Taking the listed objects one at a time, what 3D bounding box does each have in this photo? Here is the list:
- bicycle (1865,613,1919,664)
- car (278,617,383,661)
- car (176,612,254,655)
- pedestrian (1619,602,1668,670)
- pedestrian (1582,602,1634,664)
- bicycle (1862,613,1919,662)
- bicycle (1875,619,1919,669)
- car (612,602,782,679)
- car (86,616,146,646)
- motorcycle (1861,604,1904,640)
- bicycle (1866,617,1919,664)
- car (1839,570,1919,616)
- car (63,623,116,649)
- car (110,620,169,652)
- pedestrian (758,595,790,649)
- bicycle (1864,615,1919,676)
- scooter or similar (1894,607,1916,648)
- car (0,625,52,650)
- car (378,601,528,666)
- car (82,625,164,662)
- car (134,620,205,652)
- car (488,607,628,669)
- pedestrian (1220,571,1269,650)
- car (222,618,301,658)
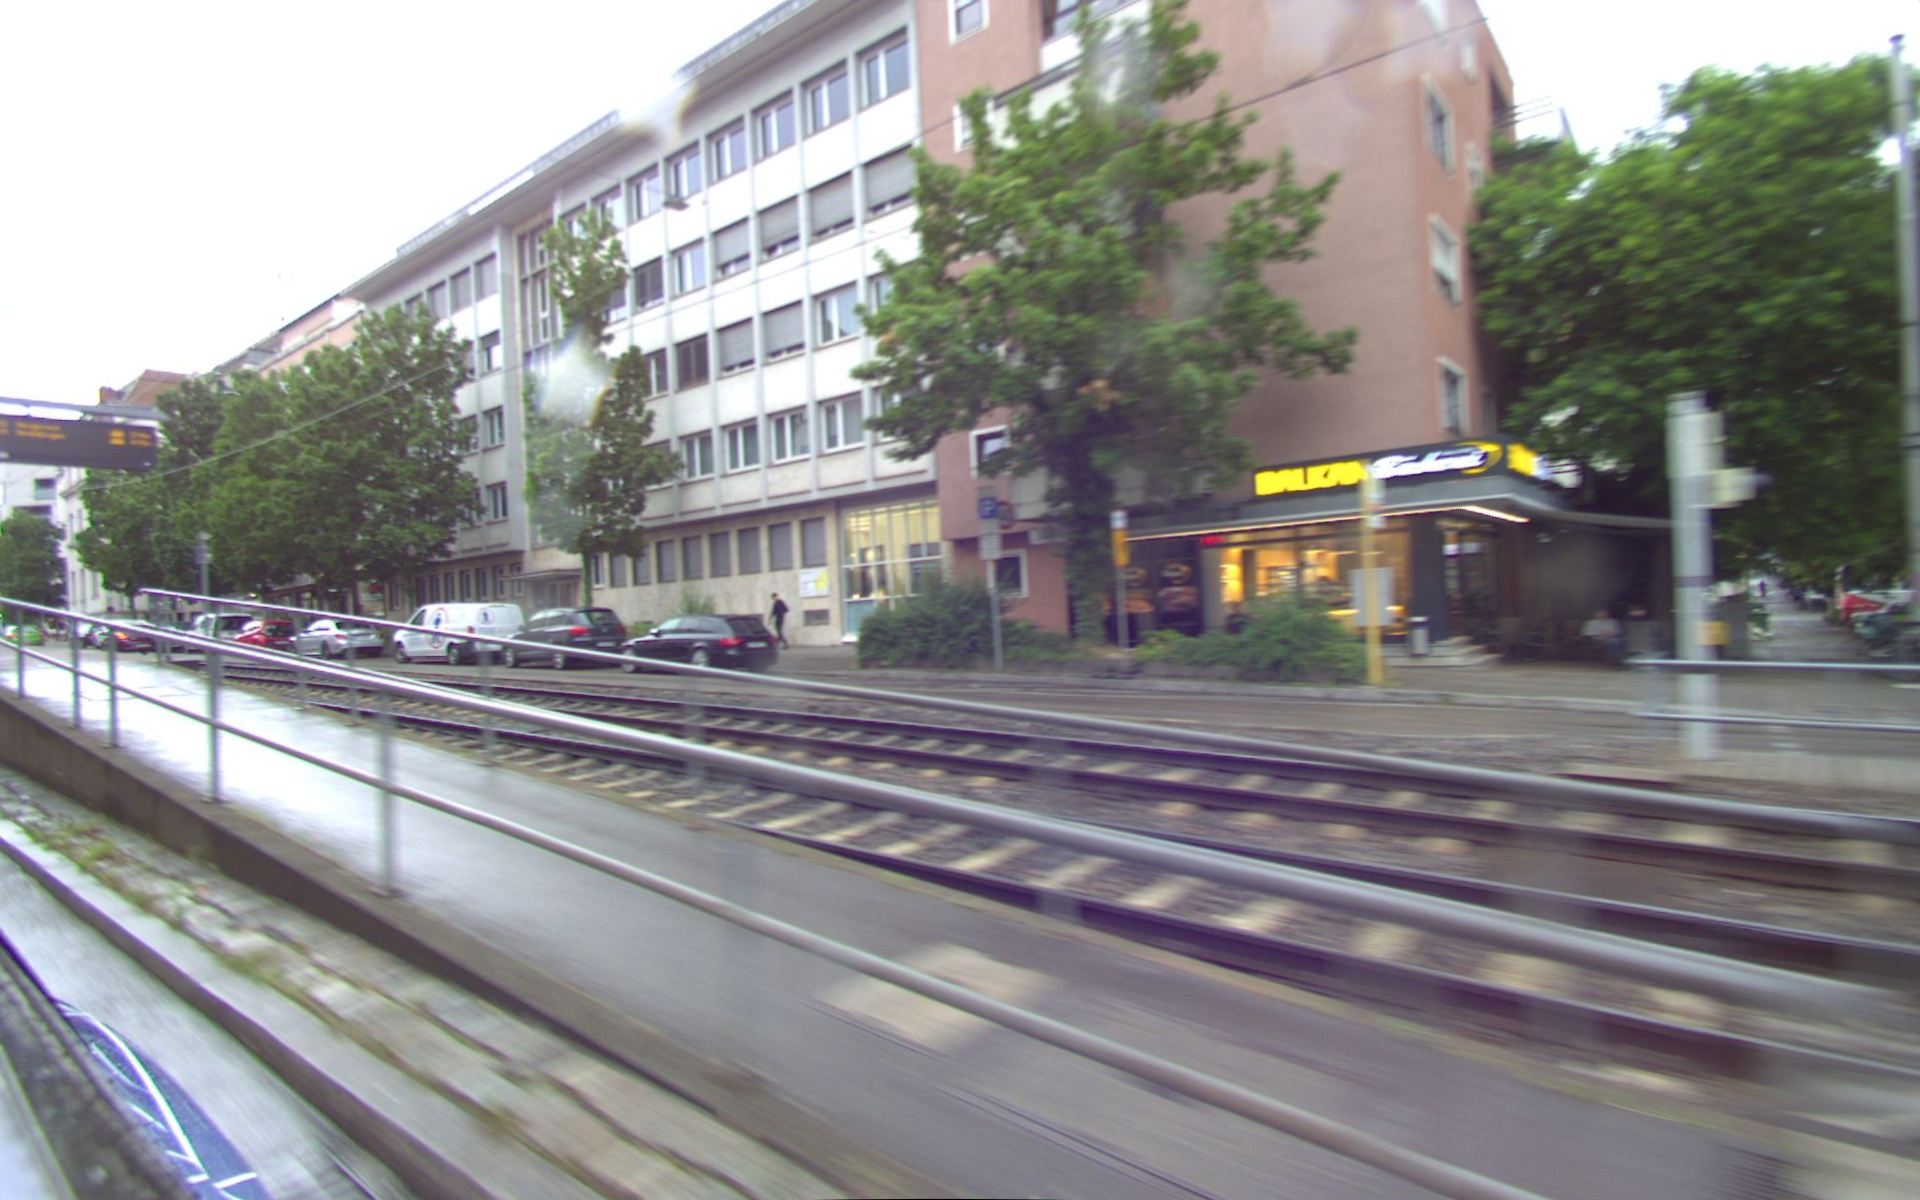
[{"bbox_3d":[17.321,0.688,18.117,1.646,0.917,0.335,-1,-1,42],"label":"bicycle"},{"bbox_3d":[-23.016,1.384,36.932,4.521,1.473,1.677,-1,0,36],"label":"car"},{"bbox_3d":[-33.643,1.485,45.672,4.426,1.831,1.658,-1,0,38],"label":"car"},{"bbox_3d":[12.422,0.642,18.388,0.608,1.187,0.668,-2,-1,44],"label":"pedestrian"},{"bbox_3d":[12.714,0.646,19.869,0.601,1.187,0.677,-1,-1,7],"label":"pedestrian"},{"bbox_3d":[17.890,0.698,18.820,1.646,0.910,0.335,-1,-1,42],"label":"bicycle"},{"bbox_3d":[16.216,0.725,16.686,1.645,0.822,0.336,-1,-1,39],"label":"bicycle"},{"bbox_3d":[-6.248,0.899,23.792,4.366,1.636,1.622,-1,0,39],"label":"car"},{"bbox_3d":[-47.016,1.713,56.370,4.331,1.596,1.642,-1,0,38],"label":"car"},{"bbox_3d":[26.673,0.627,29.293,0.746,1.015,1.833,-2,-1,38],"label":"motorcycle"},{"bbox_3d":[17.596,0.730,18.400,1.646,0.849,0.334,-1,-1,42],"label":"bicycle"},{"bbox_3d":[47.568,-0.379,50.940,4.856,2.226,1.885,-2,-1,37],"label":"car"},{"bbox_3d":[-51.659,2.106,60.052,4.454,1.386,1.697,-1,0,40],"label":"car"},{"bbox_3d":[-42.421,1.825,52.296,4.018,1.549,1.622,-1,0,39],"label":"car"},{"bbox_3d":[-5.487,0.646,29.879,0.583,1.569,0.693,-1,-1,33],"label":"pedestrian"},{"bbox_3d":[15.555,0.719,15.972,1.871,0.966,0.475,-1,-1,39],"label":"bicycle"},{"bbox_3d":[23.197,0.667,24.850,0.283,0.988,1.118,-1,-1,39],"label":"scooter or similar"},{"bbox_3d":[-55.558,2.206,60.167,3.728,1.348,1.624,-1,0,36],"label":"car"},{"bbox_3d":[-15.761,1.005,31.371,5.245,1.858,1.891,-1,0,35],"label":"car"},{"bbox_3d":[-36.468,1.872,44.065,4.521,1.473,1.677,-1,0,36],"label":"car"},{"bbox_3d":[-38.463,1.720,49.188,4.723,1.451,1.623,-1,0,38],"label":"car"},{"bbox_3d":[-10.993,0.992,27.563,4.366,1.548,1.622,-1,0,39],"label":"car"},{"bbox_3d":[5.953,0.216,21.179,0.817,1.608,0.553,-2,-1,40],"label":"pedestrian"},{"bbox_3d":[-29.098,1.559,42.143,3.798,1.551,1.623,-1,0,38],"label":"car"}]
